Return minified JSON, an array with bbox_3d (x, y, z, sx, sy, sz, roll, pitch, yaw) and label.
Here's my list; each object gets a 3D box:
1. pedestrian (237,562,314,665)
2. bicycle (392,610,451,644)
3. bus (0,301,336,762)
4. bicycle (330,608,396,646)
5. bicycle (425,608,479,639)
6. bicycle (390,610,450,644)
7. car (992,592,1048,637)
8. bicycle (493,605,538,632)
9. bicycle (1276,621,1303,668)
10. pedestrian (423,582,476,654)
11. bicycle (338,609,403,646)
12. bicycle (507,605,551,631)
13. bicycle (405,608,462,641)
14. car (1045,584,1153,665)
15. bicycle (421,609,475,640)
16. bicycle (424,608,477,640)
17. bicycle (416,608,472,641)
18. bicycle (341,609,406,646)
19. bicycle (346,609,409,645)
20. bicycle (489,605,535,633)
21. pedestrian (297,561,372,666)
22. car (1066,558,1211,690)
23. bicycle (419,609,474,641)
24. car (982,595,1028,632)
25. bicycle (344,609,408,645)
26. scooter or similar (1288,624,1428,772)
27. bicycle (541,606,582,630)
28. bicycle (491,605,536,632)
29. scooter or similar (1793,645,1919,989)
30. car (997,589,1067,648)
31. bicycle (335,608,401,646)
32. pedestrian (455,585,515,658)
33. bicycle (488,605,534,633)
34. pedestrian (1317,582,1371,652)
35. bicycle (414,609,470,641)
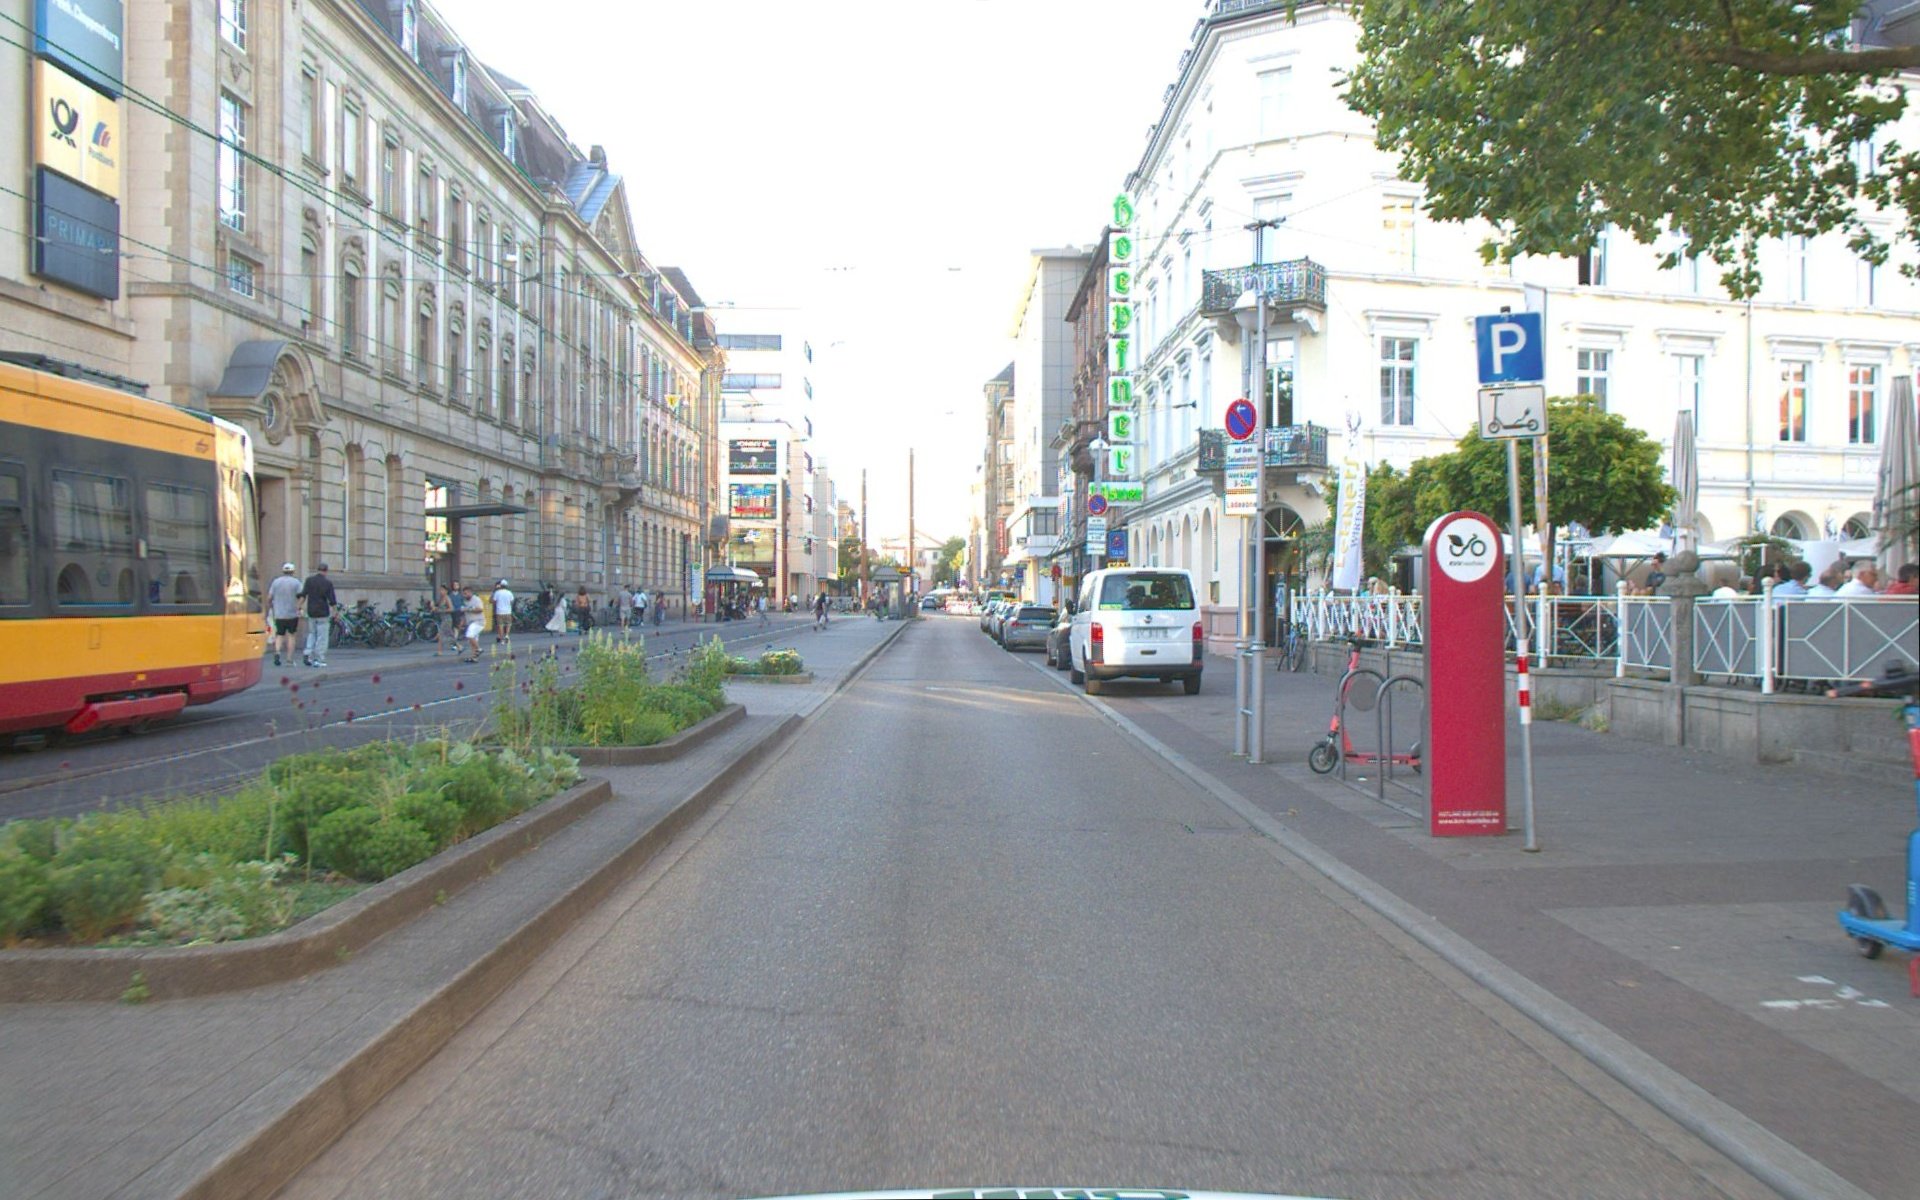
[{"bbox_3d":[-12.293,0.254,29.729,0.943,1.817,0.906,0,-2,5],"label":"pedestrian"},{"bbox_3d":[-15.349,0.764,47.152,1.555,0.965,0.358,0,-1,-13],"label":"bicycle"},{"bbox_3d":[-9.036,-0.548,14.492,2.765,3.675,11.821,0,0,-1],"label":"bus"},{"bbox_3d":[-15.193,0.682,42.116,1.555,0.965,0.358,0,-1,-13],"label":"bicycle"},{"bbox_3d":[-15.819,0.735,51.528,1.555,0.965,0.358,0,-2,-13],"label":"bicycle"},{"bbox_3d":[-15.243,0.760,46.720,1.555,0.965,0.358,0,-2,-13],"label":"bicycle"},{"bbox_3d":[2.319,0.594,65.157,1.953,1.696,4.419,0,-2,-1],"label":"car"},{"bbox_3d":[-16.174,0.685,60.134,1.555,0.965,0.358,0,-2,-13],"label":"bicycle"},{"bbox_3d":[6.585,0.885,33.097,0.245,0.918,1.373,0,-2,-1],"label":"bicycle"},{"bbox_3d":[-11.091,0.396,35.934,0.746,1.540,0.858,-2,-2,42],"label":"pedestrian"},{"bbox_3d":[-15.336,0.713,43.050,1.555,0.965,0.358,0,-2,-13],"label":"bicycle"},{"bbox_3d":[-15.990,0.659,61.339,1.555,0.965,0.358,0,-2,-13],"label":"bicycle"},{"bbox_3d":[-15.537,0.735,48.834,1.555,0.965,0.358,0,-2,-13],"label":"bicycle"},{"bbox_3d":[3.022,0.531,36.851,1.953,1.696,4.420,0,-1,-1],"label":"car"},{"bbox_3d":[-15.670,0.751,50.636,1.555,0.965,0.358,0,-2,-13],"label":"bicycle"},{"bbox_3d":[-15.731,0.746,51.086,1.555,0.965,0.358,0,-2,-13],"label":"bicycle"},{"bbox_3d":[-15.513,0.737,49.743,1.555,0.965,0.358,0,-2,-13],"label":"bicycle"},{"bbox_3d":[-15.422,0.719,43.497,1.555,0.965,0.358,0,-2,-13],"label":"bicycle"},{"bbox_3d":[-15.600,0.730,44.305,1.555,0.965,0.358,0,-2,-13],"label":"bicycle"},{"bbox_3d":[-16.062,0.686,59.301,1.554,0.965,0.358,0,-2,-12],"label":"bicycle"},{"bbox_3d":[-11.169,0.254,29.563,0.943,1.842,0.906,0,-2,5],"label":"pedestrian"},{"bbox_3d":[2.871,0.385,27.526,1.876,2.016,4.420,0,0,-1],"label":"car"},{"bbox_3d":[-15.586,0.747,50.181,1.555,0.965,0.358,0,-2,-13],"label":"bicycle"},{"bbox_3d":[2.106,0.661,78.304,1.953,1.696,4.419,0,-2,-1],"label":"car"},{"bbox_3d":[-15.504,0.721,43.903,1.555,0.965,0.358,0,-2,-13],"label":"bicycle"},{"bbox_3d":[3.416,0.834,14.232,1.102,1.237,0.300,-1,-1,0],"label":"scooter or similar"},{"bbox_3d":[-15.931,0.727,66.116,1.555,0.965,0.358,0,-2,-13],"label":"bicycle"},{"bbox_3d":[-16.110,0.684,59.701,1.555,0.965,0.358,0,-2,-13],"label":"bicycle"},{"bbox_3d":[3.765,0.823,6.624,0.308,1.243,1.273,-1,0,6],"label":"scooter or similar"},{"bbox_3d":[2.233,0.565,52.314,1.953,1.791,4.420,0,0,-1],"label":"car"},{"bbox_3d":[-15.262,0.695,42.655,1.555,0.965,0.358,0,-2,-13],"label":"bicycle"},{"bbox_3d":[-10.186,0.467,35.465,0.706,1.540,1.031,-2,-2,42],"label":"pedestrian"},{"bbox_3d":[-15.980,0.679,58.852,1.555,0.965,0.358,0,-2,-13],"label":"bicycle"},{"bbox_3d":[7.370,0.336,31.786,0.806,1.329,0.869,0,-2,-2],"label":"pedestrian"},{"bbox_3d":[-15.442,0.743,49.309,1.555,0.965,0.358,0,-2,-13],"label":"bicycle"}]
